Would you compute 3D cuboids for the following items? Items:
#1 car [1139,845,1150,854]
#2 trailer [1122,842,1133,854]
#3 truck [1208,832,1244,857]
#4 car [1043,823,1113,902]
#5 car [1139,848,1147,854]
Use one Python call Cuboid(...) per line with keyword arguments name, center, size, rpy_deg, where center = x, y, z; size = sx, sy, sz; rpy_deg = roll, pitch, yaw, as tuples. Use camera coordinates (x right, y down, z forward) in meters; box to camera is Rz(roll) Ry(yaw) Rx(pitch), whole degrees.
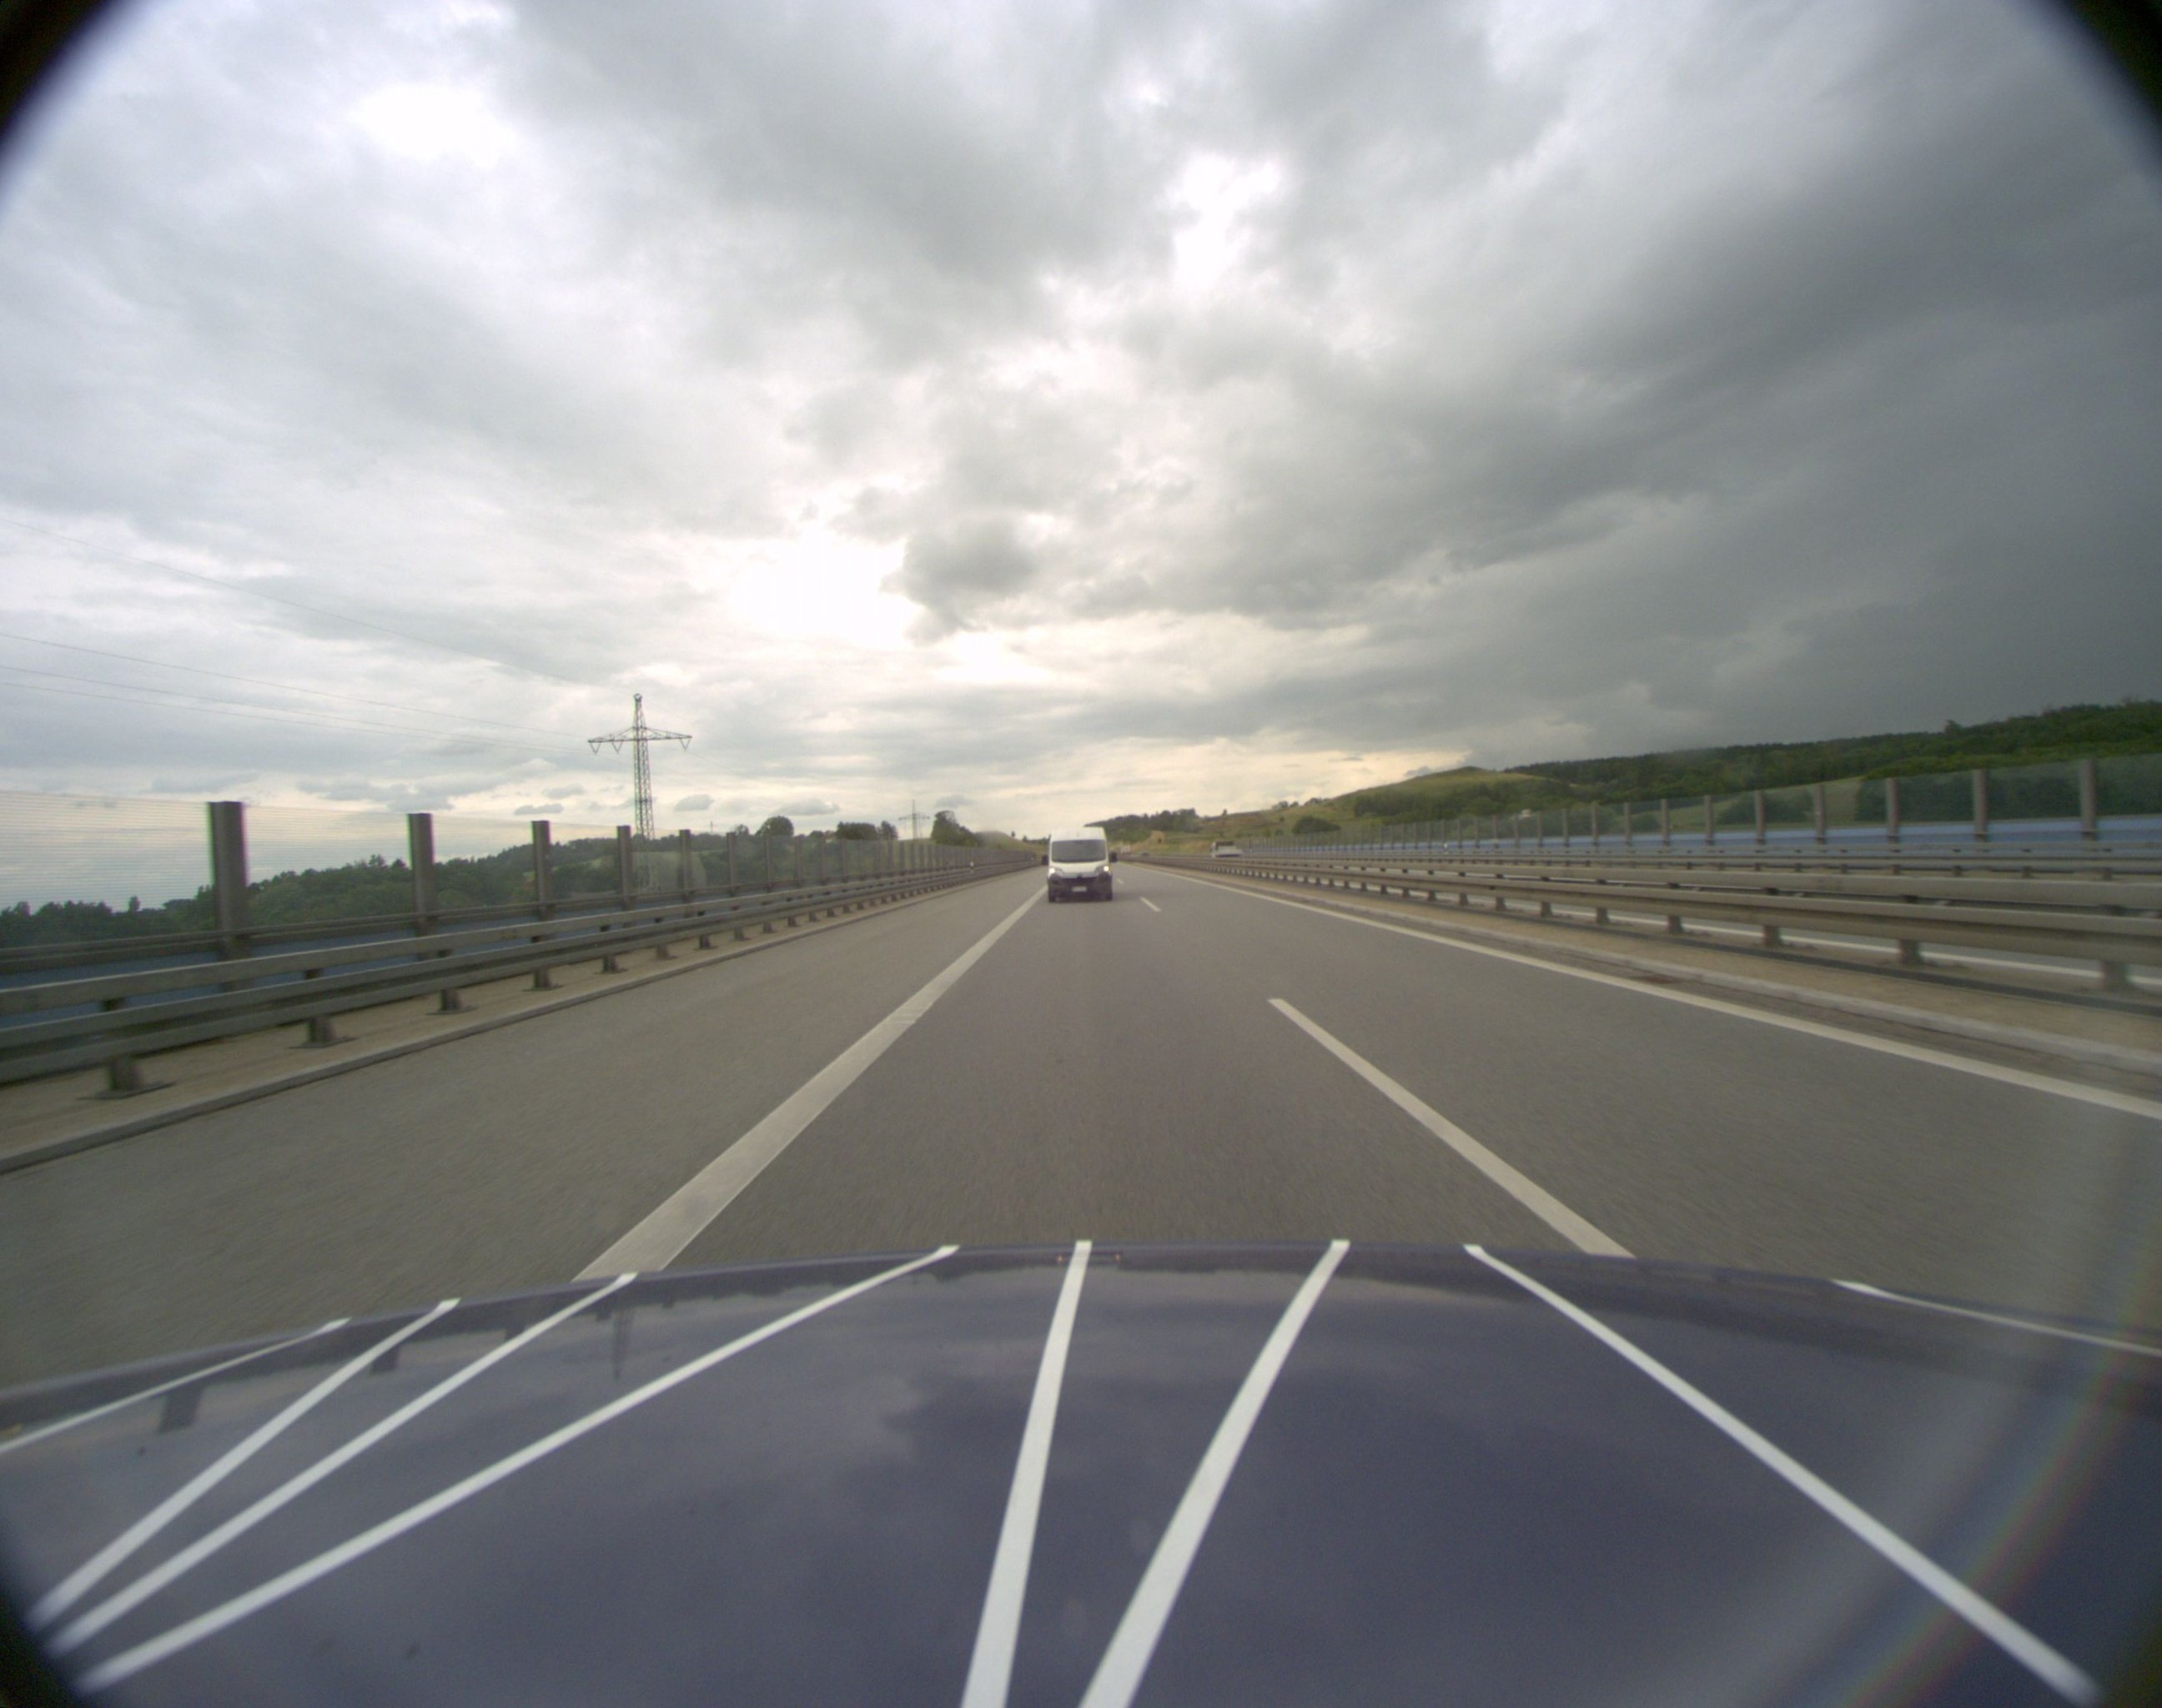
Cuboid(name="car", center=(11.379, -0.767, 136.289), size=(1.758, 1.483, 4.000), rpy_deg=(-2, 0, 1))
Cuboid(name="trailer", center=(15.906, -2.140, 260.024), size=(2.925, 3.902, 14.274), rpy_deg=(-3, 0, 1))
Cuboid(name="truck", center=(14.868, -0.973, 78.331), size=(2.278, 2.417, 7.451), rpy_deg=(-2, 0, 1))
Cuboid(name="car", center=(-0.008, 0.275, 26.776), size=(2.132, 2.411, 6.112), rpy_deg=(-2, 0, 2))
Cuboid(name="car", center=(16.377, -0.752, 199.989), size=(1.635, 1.401, 4.000), rpy_deg=(-3, 0, 1))
